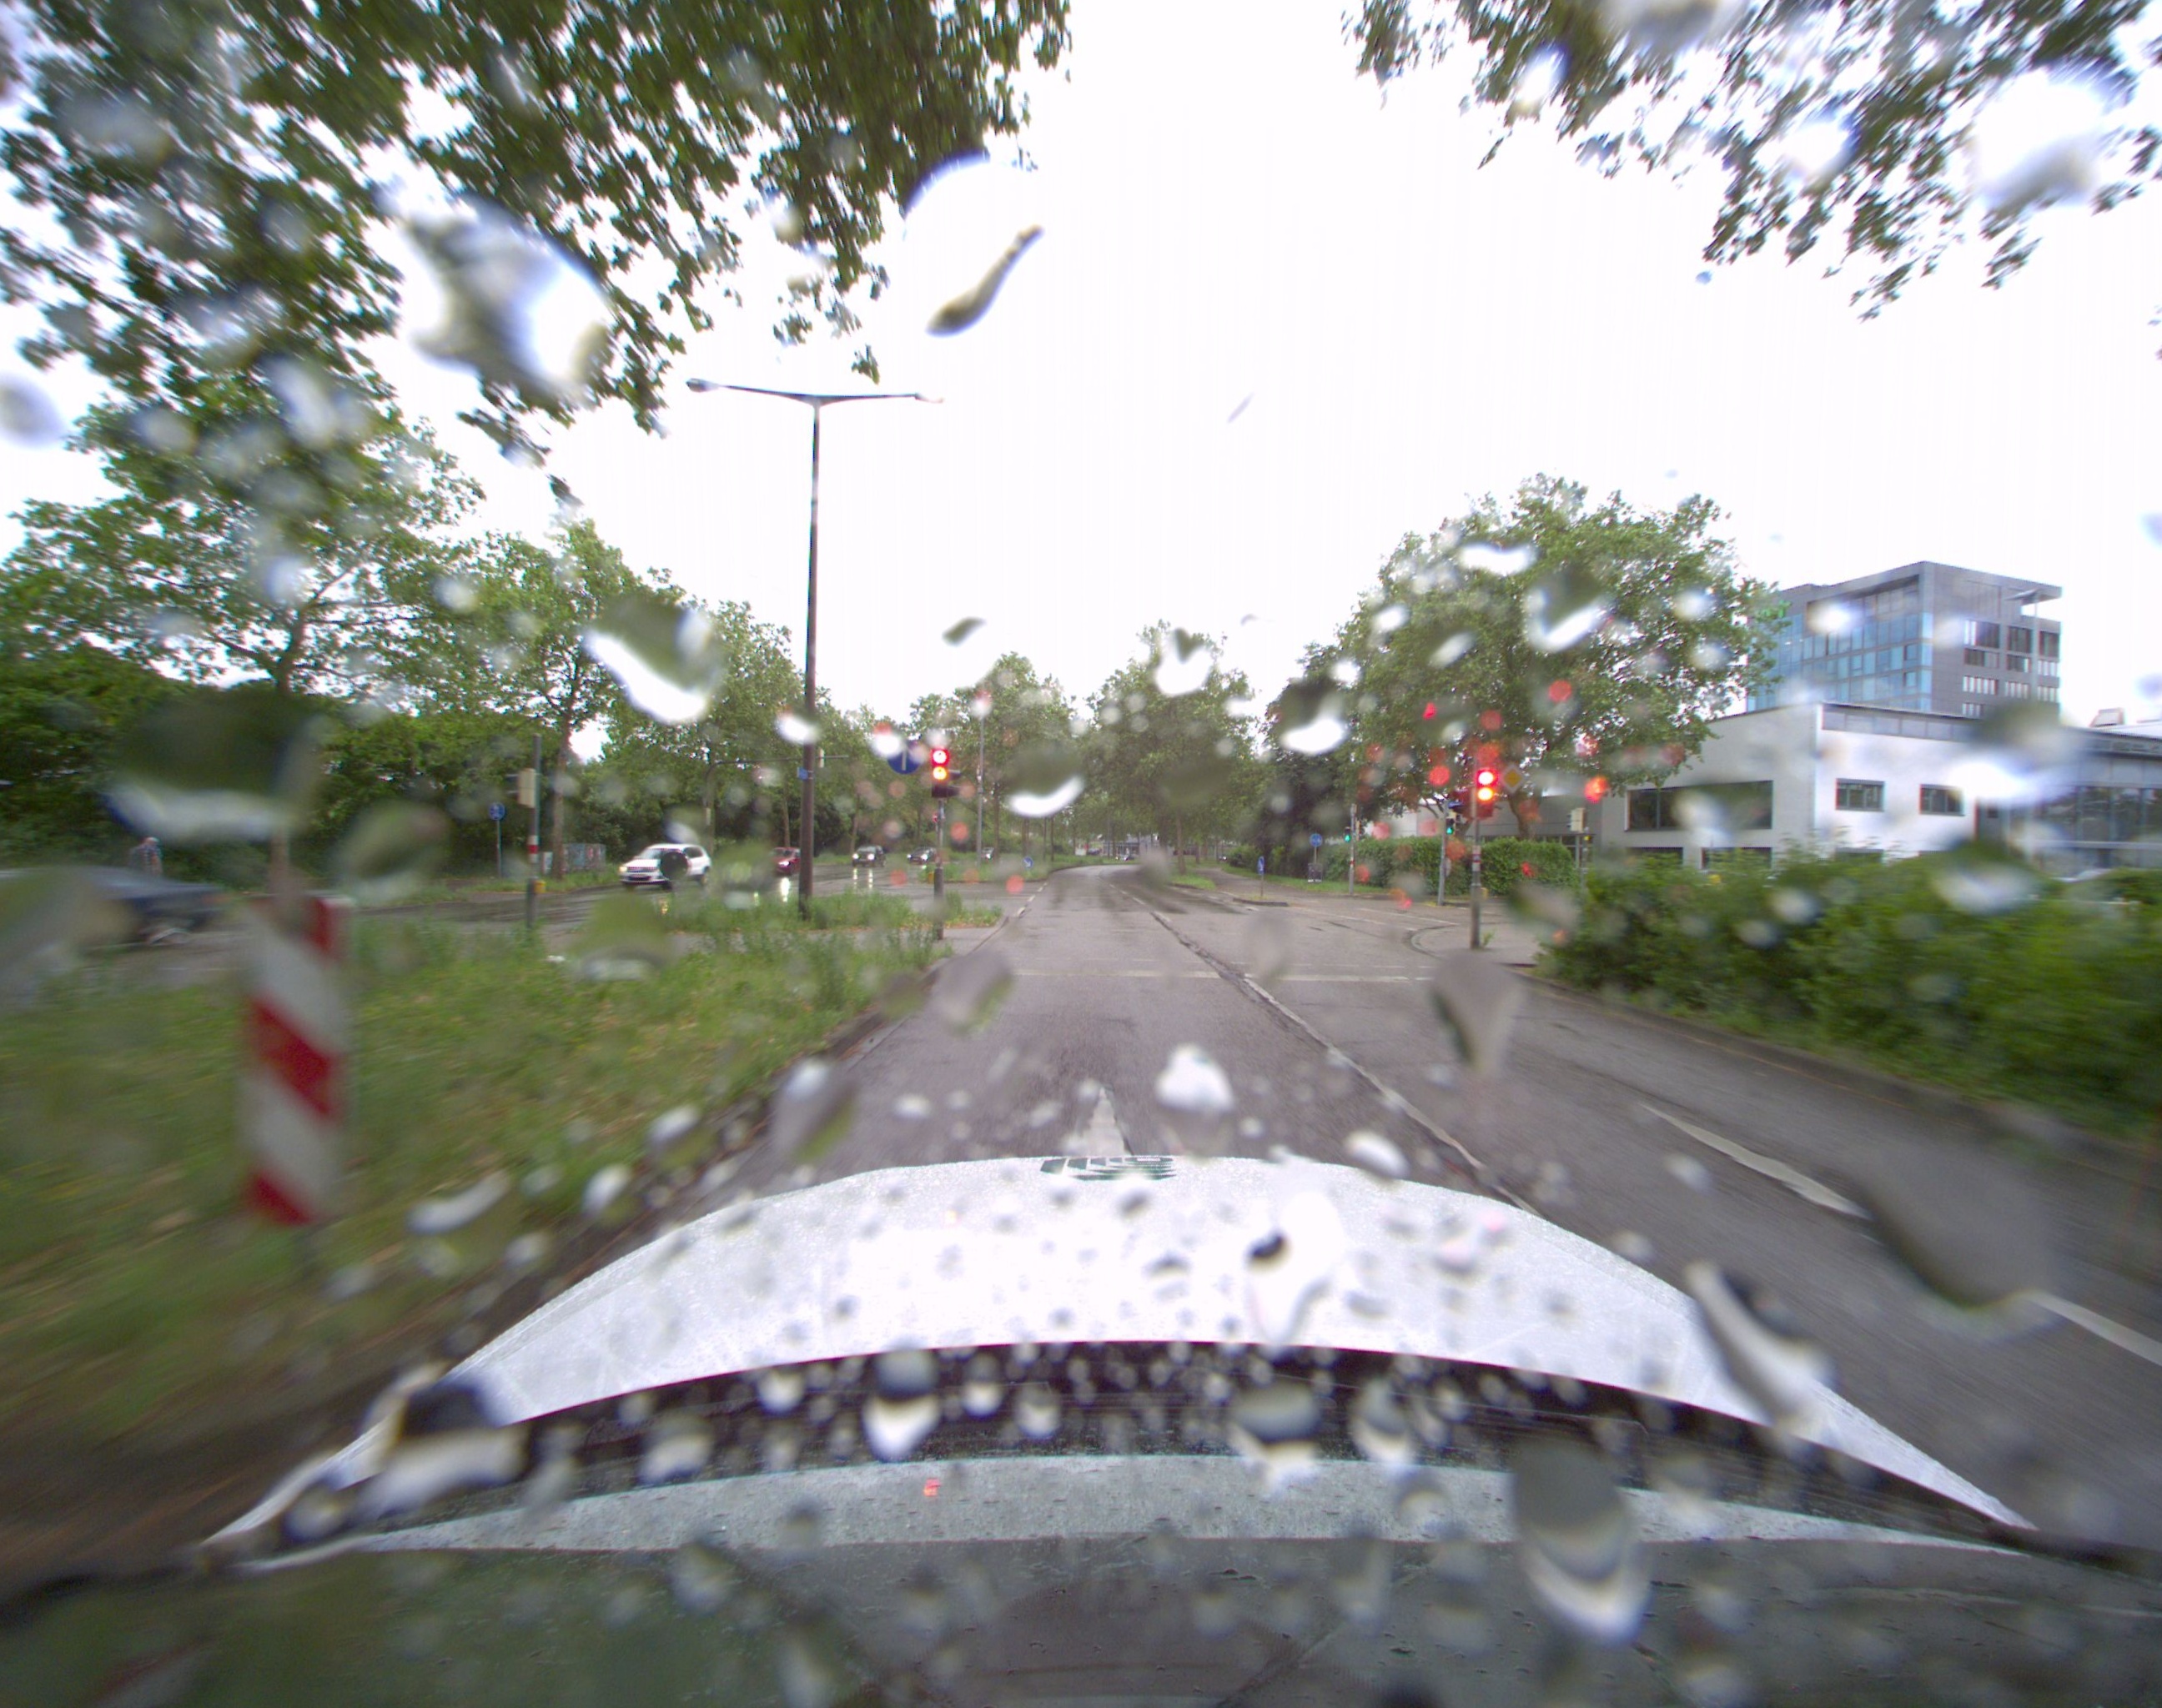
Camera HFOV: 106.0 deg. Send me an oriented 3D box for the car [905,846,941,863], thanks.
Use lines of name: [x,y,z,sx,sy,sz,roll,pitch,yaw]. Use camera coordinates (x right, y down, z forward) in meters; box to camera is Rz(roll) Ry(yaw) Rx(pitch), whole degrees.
car: [-13.402,0.053,69.287,1.578,1.373,4.273,1,0,9]

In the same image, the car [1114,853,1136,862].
car: [6.852,0.552,127.297,1.987,1.452,5.016,1,0,20]

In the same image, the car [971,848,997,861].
car: [-10.394,0.040,87.352,1.577,1.373,4.274,1,0,10]

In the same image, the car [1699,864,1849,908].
car: [27.030,1.230,31.855,4.277,1.590,1.889,1,0,0]

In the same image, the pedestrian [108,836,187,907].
pedestrian: [-22.365,0.412,19.535,0.828,1.674,0.899,0,0,-1]

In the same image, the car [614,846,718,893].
car: [-15.619,0.532,30.962,1.738,1.631,4.442,1,0,-1]

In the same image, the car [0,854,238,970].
car: [-15.186,0.787,11.592,1.738,1.438,4.443,1,2,-1]

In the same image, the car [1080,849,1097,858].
car: [1.781,-0.082,193.172,3.985,2.014,1.994,1,-1,-8]

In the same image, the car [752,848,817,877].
car: [-15.496,0.407,42.788,1.737,1.408,4.444,1,0,0]

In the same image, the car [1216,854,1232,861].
car: [30.961,0.725,176.332,1.953,1.564,4.759,1,0,27]

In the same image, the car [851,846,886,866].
car: [-15.100,0.145,57.984,1.582,1.373,3.333,1,0,0]
